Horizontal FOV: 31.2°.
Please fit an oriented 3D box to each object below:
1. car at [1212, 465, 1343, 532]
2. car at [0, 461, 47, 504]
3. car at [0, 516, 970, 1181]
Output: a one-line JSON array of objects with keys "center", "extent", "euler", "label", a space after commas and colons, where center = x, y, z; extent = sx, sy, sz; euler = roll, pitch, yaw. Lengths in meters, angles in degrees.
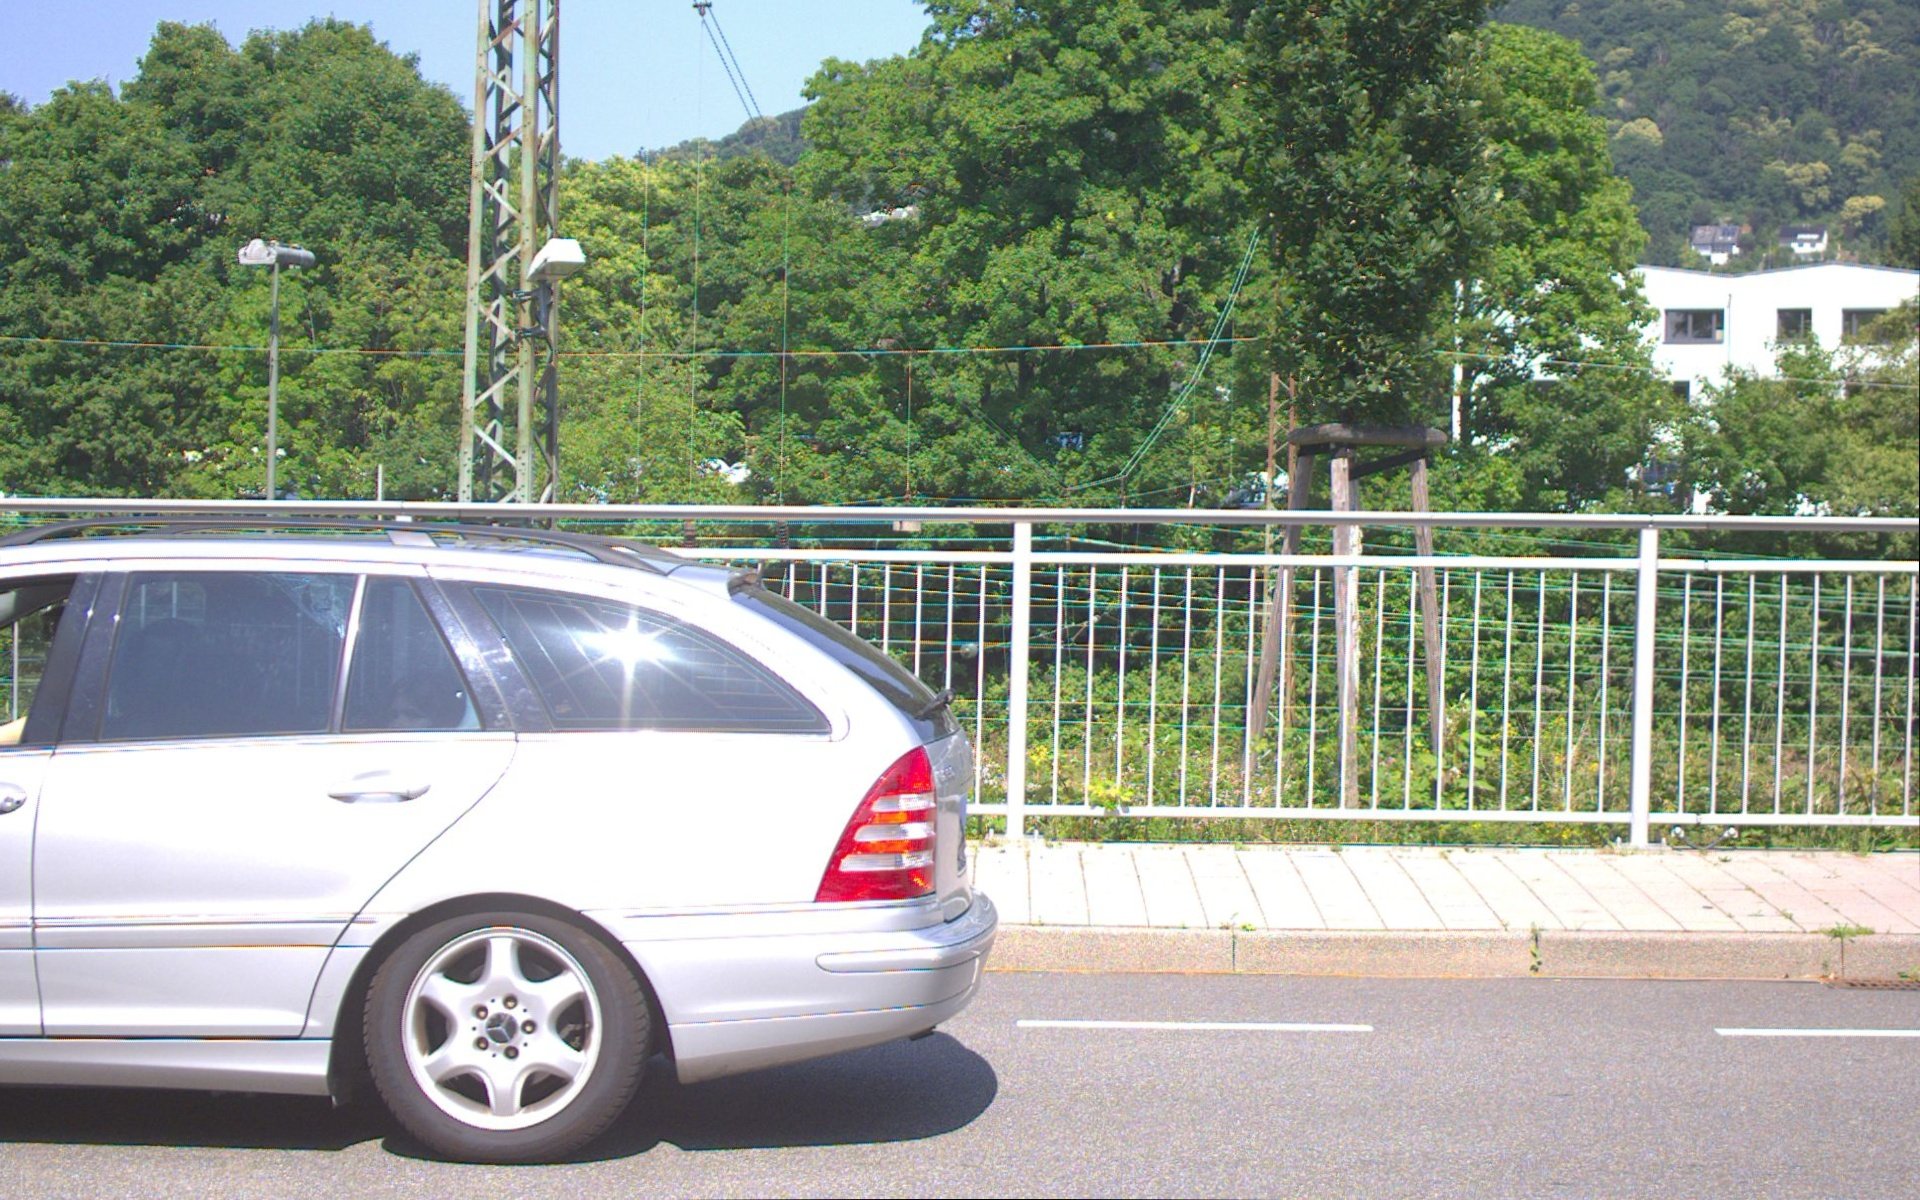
[{"center": [10.293, -3.284, 111.420], "extent": [3.924, 2.007, 1.753], "euler": [0, -2, 18], "label": "car"}, {"center": [-31.906, -3.825, 111.650], "extent": [4.309, 1.362, 1.863], "euler": [2, 2, 30], "label": "car"}, {"center": [-2.190, 0.504, 8.260], "extent": [4.372, 1.399, 1.714], "euler": [1, 1, 2], "label": "car"}]
